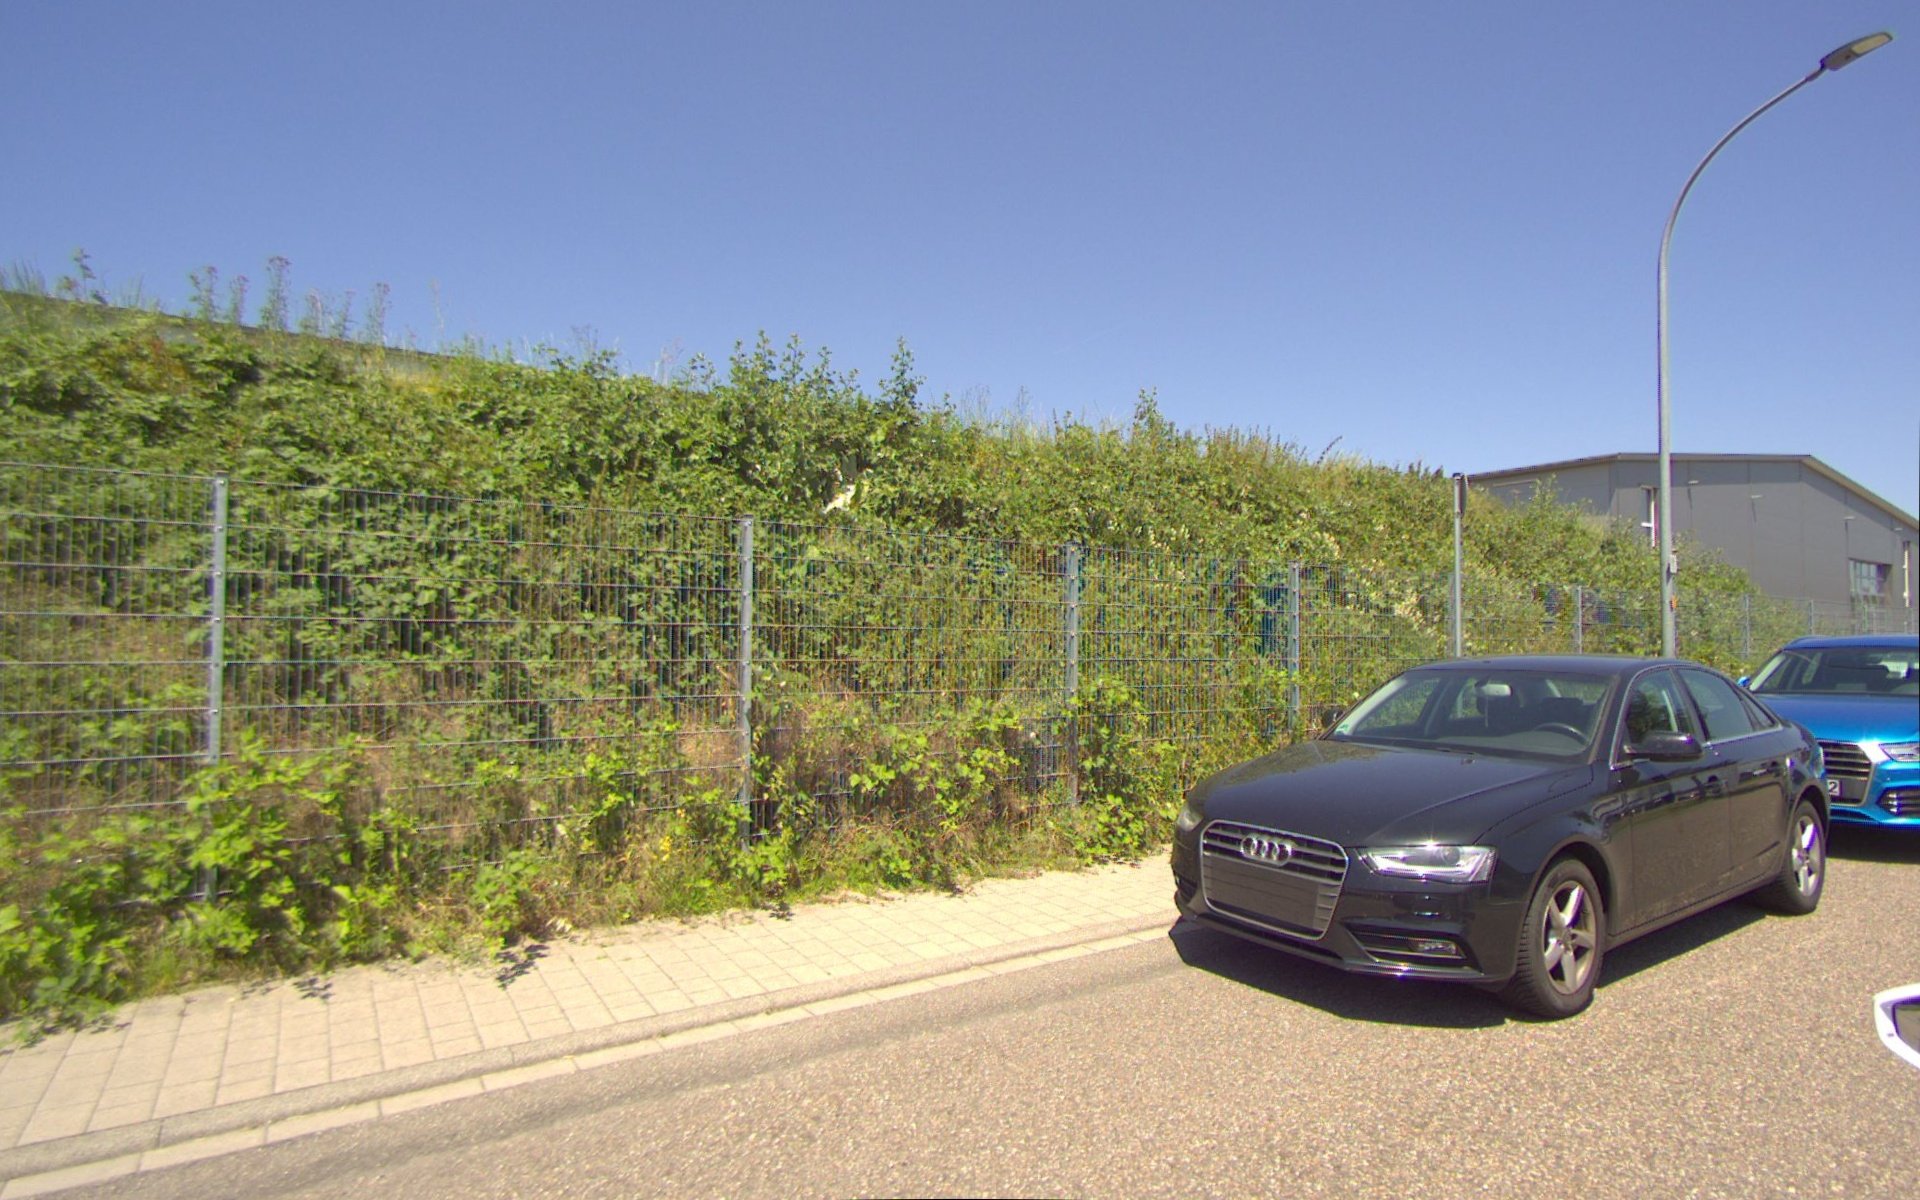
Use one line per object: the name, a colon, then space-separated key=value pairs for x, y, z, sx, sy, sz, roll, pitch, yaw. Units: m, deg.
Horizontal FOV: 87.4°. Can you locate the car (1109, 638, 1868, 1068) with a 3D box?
car: x=3.103 y=0.978 z=5.528 sx=4.535 sy=1.473 sz=1.813 roll=2 pitch=-3 yaw=-35

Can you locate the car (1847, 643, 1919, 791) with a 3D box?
car: x=11.952 y=1.262 z=11.310 sx=4.472 sy=1.519 sz=1.814 roll=2 pitch=-3 yaw=-33

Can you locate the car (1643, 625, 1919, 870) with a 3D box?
car: x=7.646 y=1.055 z=8.348 sx=4.342 sy=1.591 sz=1.813 roll=2 pitch=-3 yaw=-35
